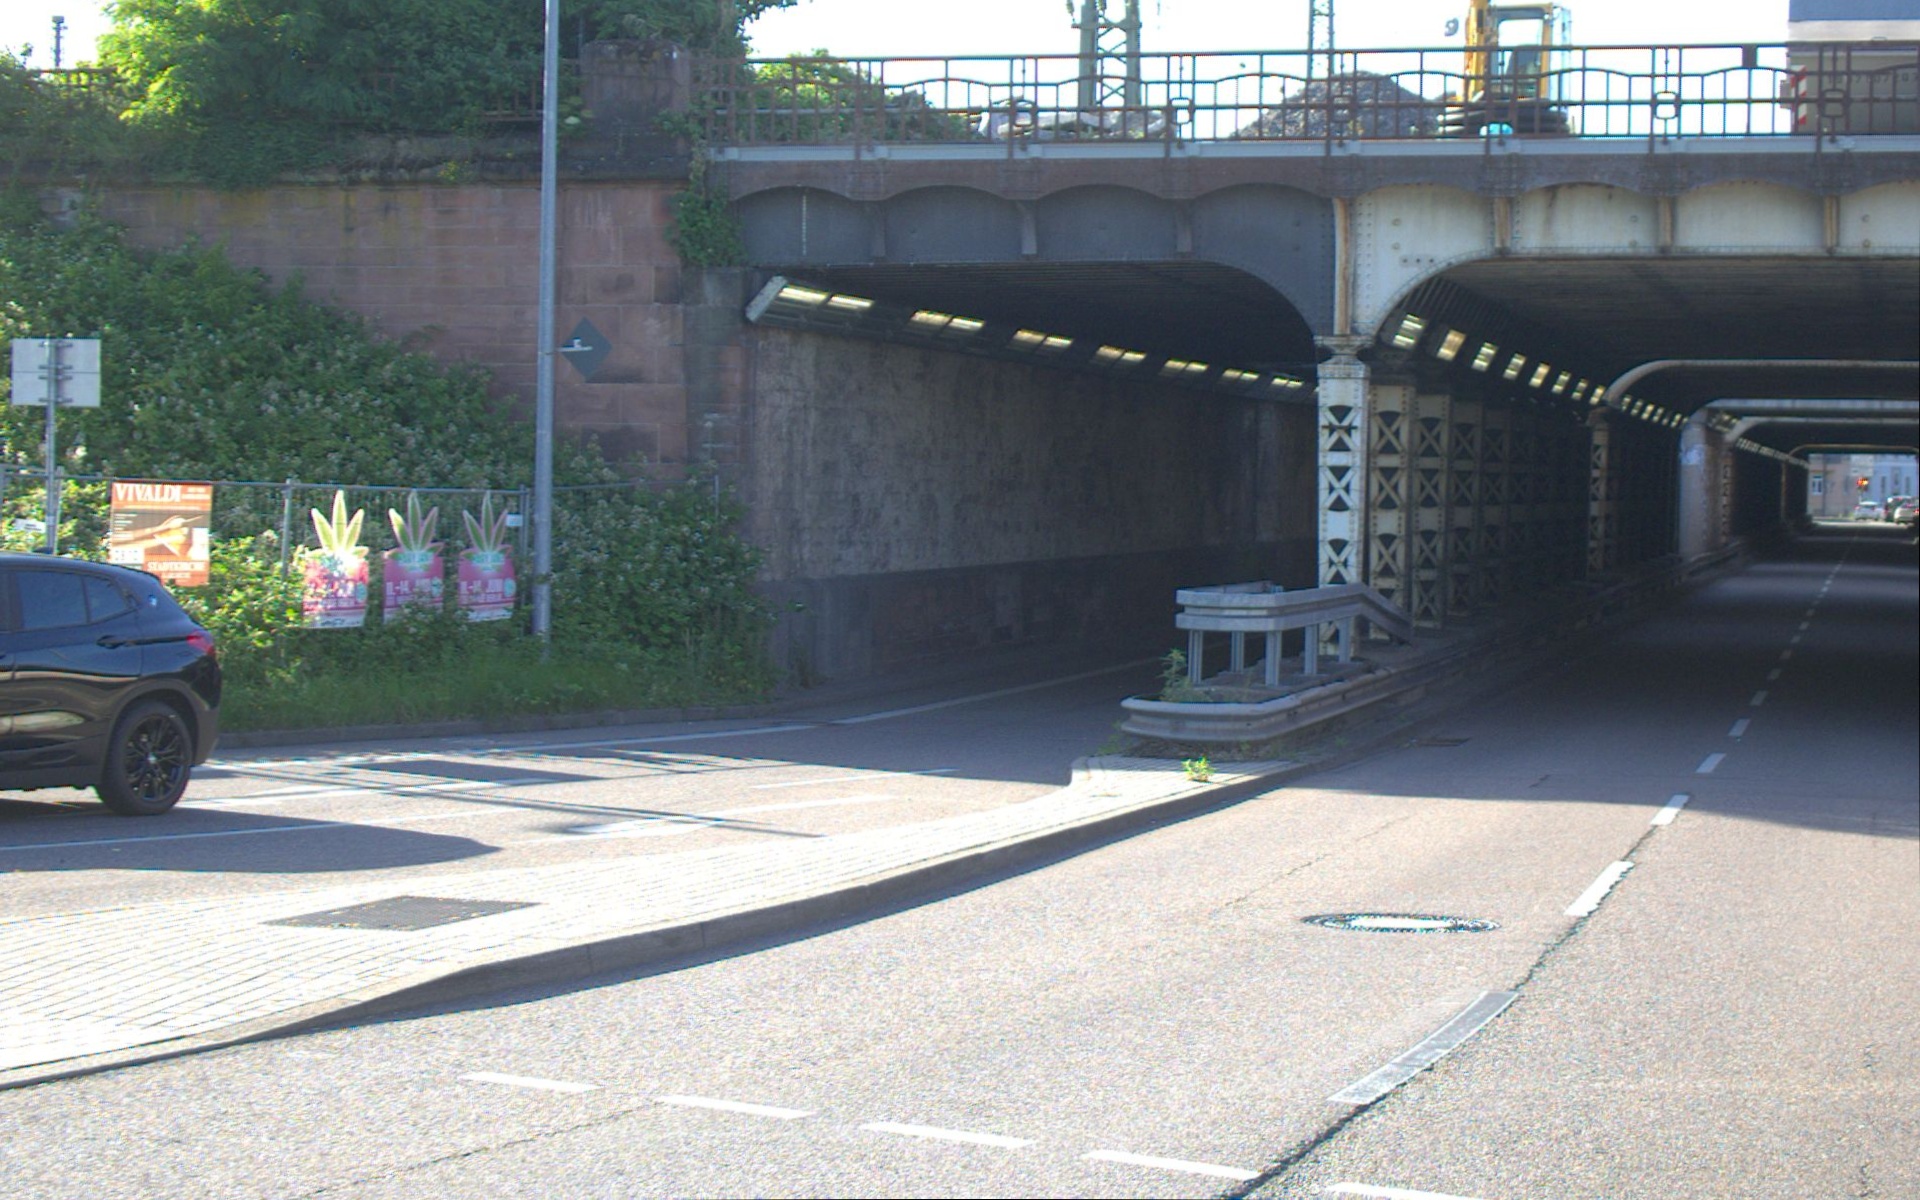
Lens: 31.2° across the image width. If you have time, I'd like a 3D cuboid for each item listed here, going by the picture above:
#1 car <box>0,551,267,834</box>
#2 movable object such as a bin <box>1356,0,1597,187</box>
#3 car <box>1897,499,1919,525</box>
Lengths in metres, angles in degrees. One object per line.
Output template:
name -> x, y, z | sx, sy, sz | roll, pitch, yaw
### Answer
car -> -6.056, 0.484, 19.038 | 1.953, 1.512, 4.380 | 2, 1, 29
movable object such as a bin -> 5.885, -6.034, 38.676 | 1.995, 2.218, 4.827 | 2, 1, 16
car -> 68.598, -6.337, 247.810 | 1.995, 1.777, 3.997 | 1, 2, 15
